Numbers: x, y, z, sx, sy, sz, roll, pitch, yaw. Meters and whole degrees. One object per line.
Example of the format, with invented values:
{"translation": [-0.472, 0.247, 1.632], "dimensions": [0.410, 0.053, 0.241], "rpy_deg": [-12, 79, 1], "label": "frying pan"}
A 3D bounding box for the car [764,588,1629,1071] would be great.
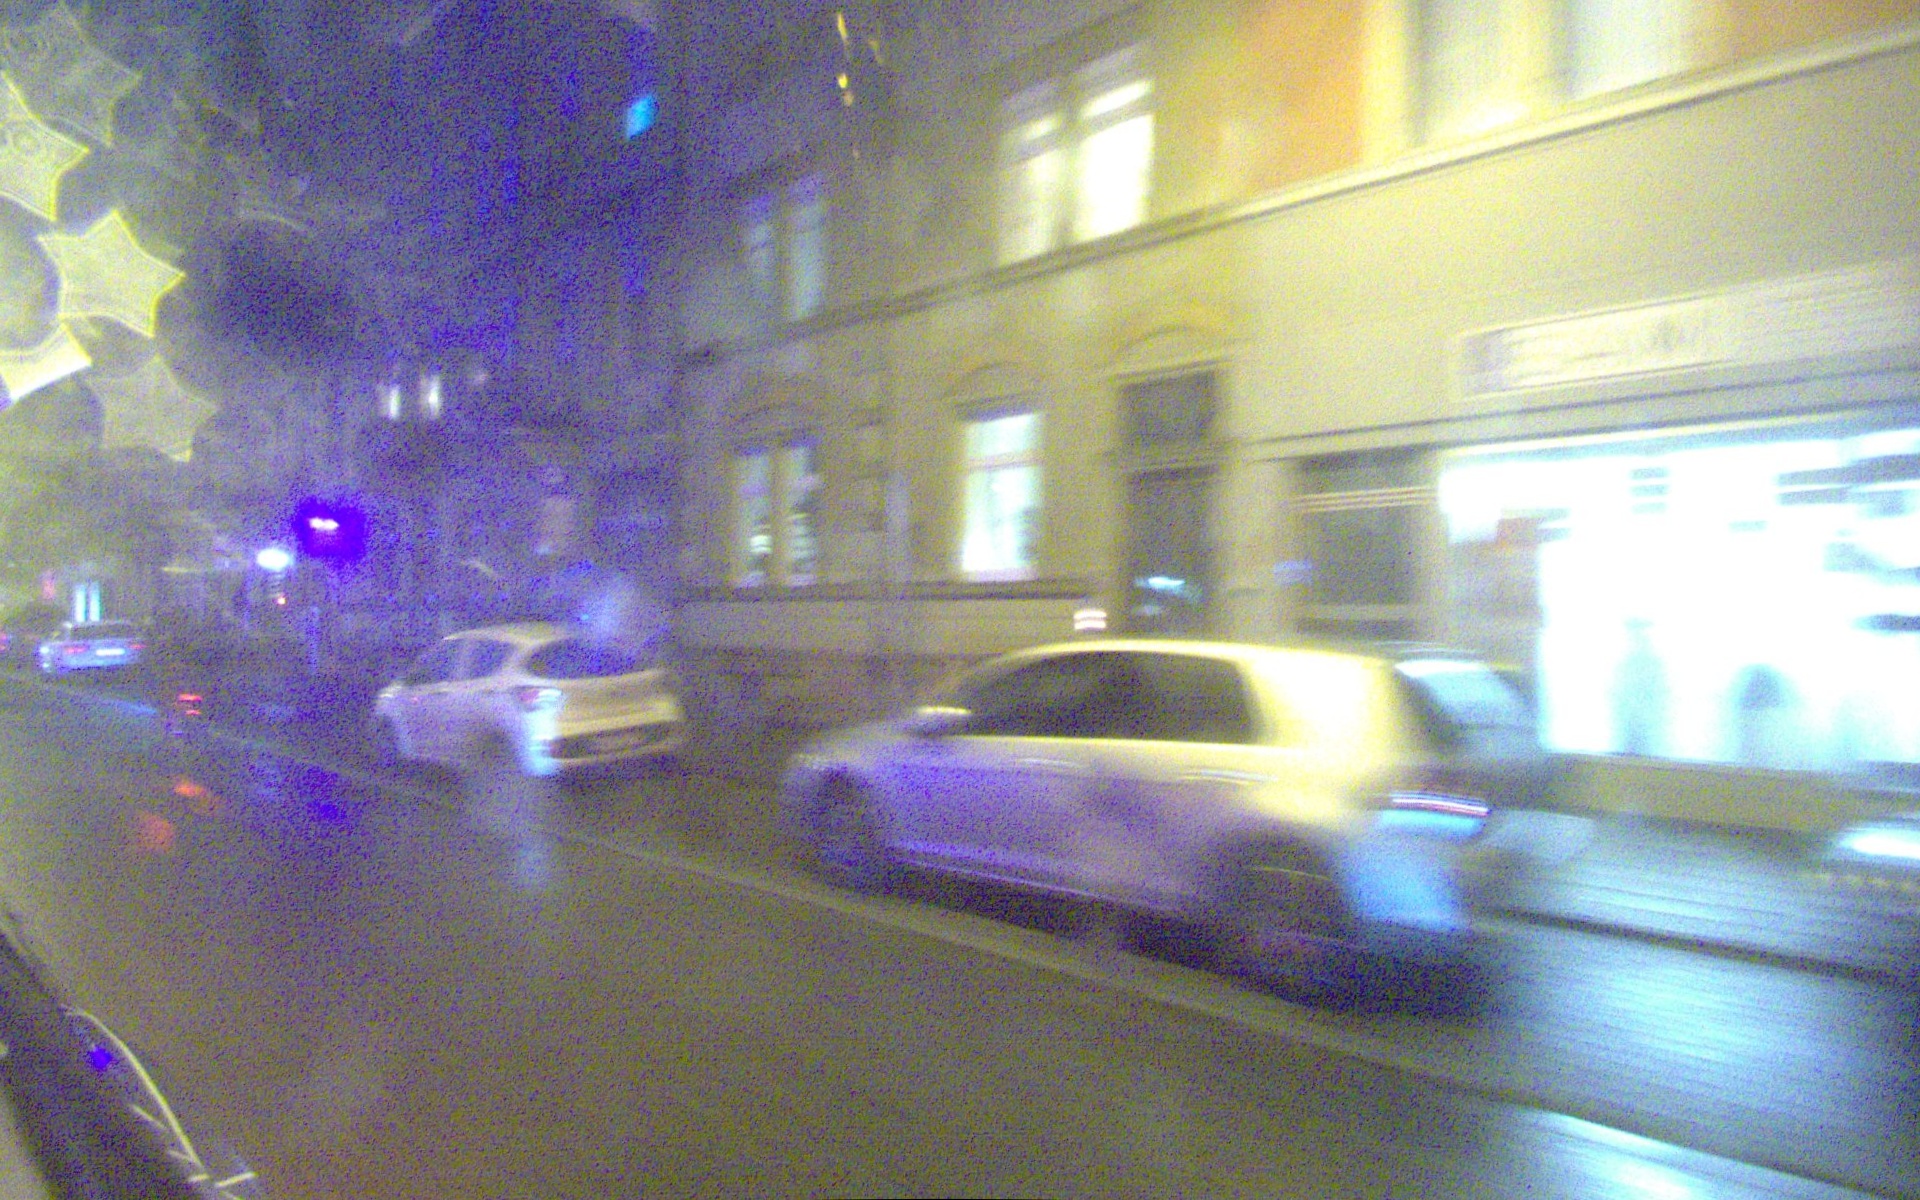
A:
{"translation": [0.957, 0.793, 5.366], "dimensions": [4.132, 1.584, 1.756], "rpy_deg": [-1, -2, 41], "label": "car"}

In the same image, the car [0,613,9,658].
{"translation": [-42.065, 1.509, 43.049], "dimensions": [4.827, 1.843, 1.882], "rpy_deg": [-1, -2, 42], "label": "car"}

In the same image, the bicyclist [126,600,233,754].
{"translation": [-8.399, 0.804, 10.888], "dimensions": [0.895, 1.568, 0.711], "rpy_deg": [-1, -3, 41], "label": "bicyclist"}

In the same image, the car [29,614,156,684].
{"translation": [-21.535, 1.158, 25.062], "dimensions": [4.770, 1.494, 1.749], "rpy_deg": [-1, 1, 42], "label": "car"}

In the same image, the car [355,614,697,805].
{"translation": [-4.378, 0.907, 9.972], "dimensions": [3.720, 1.502, 1.654], "rpy_deg": [-1, 0, 41], "label": "car"}

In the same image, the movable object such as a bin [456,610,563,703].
{"translation": [-7.498, 0.913, 16.845], "dimensions": [1.377, 1.465, 1.090], "rpy_deg": [-1, -2, 39], "label": "movable object such as a bin"}

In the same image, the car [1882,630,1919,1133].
{"translation": [4.812, 0.780, 1.935], "dimensions": [4.423, 1.400, 1.803], "rpy_deg": [-1, -2, 41], "label": "car"}

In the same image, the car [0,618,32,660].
{"translation": [-35.305, 1.405, 37.080], "dimensions": [3.718, 1.471, 1.552], "rpy_deg": [-1, -2, 42], "label": "car"}

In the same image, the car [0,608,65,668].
{"translation": [-30.980, 1.207, 33.074], "dimensions": [5.204, 1.843, 1.975], "rpy_deg": [-1, -2, 42], "label": "car"}

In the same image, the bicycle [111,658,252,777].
{"translation": [-8.388, 1.202, 10.862], "dimensions": [2.347, 1.081, 0.720], "rpy_deg": [-1, -2, 41], "label": "bicycle"}
